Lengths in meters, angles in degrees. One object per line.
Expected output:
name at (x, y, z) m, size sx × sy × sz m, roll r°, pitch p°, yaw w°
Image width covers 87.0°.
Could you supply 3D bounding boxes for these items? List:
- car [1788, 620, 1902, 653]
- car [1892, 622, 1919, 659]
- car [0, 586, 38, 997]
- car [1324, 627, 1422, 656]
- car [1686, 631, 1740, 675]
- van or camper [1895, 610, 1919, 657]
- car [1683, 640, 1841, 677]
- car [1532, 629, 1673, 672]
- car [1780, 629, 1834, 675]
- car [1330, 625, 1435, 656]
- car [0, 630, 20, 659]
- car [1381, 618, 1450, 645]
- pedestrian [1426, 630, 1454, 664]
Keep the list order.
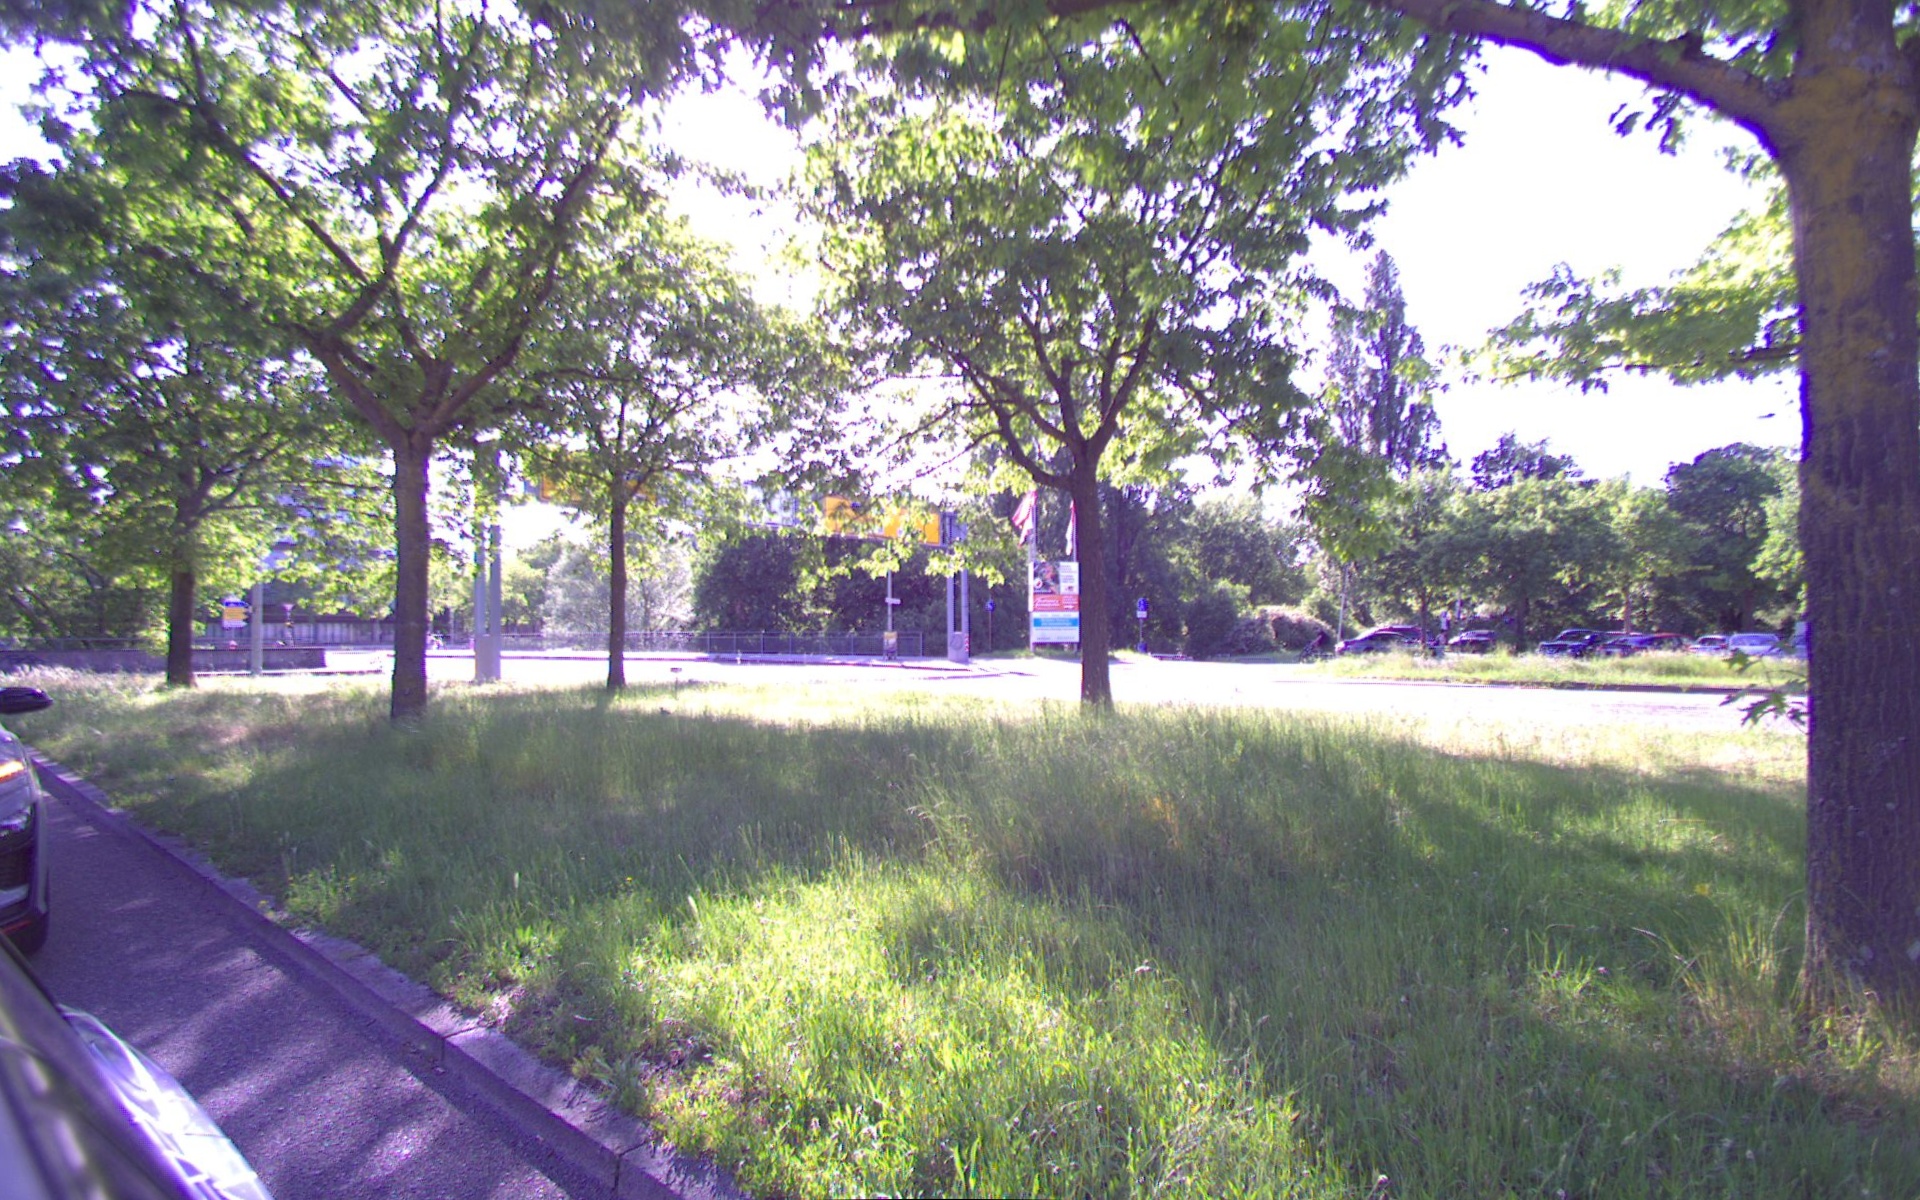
car at (43.748, 1.800, 50.106) m, size 1.969 × 1.521 × 4.005 m, roll 1°, pitch -2°, yaw -41°
car at (42.523, 1.716, 42.894) m, size 1.936 × 1.485 × 4.011 m, roll -2°, pitch -1°, yaw -33°
car at (-5.642, 0.769, 4.658) m, size 3.980 × 1.563 × 1.756 m, roll -2°, pitch -2°, yaw 43°
car at (22.109, 2.206, 54.352) m, size 4.509 × 1.475 × 1.993 m, roll -1°, pitch 0°, yaw 12°
car at (33.100, 2.286, 44.464) m, size 1.653 × 1.618 × 3.834 m, roll -2°, pitch 1°, yaw 40°
van or camper at (44.463, 1.450, 44.559) m, size 1.966 × 2.112 × 4.414 m, roll 1°, pitch -2°, yaw -32°
car at (26.718, 1.912, 33.893) m, size 3.990 × 1.137 × 1.801 m, roll -2°, pitch -2°, yaw 35°
car at (23.627, 1.832, 37.355) m, size 1.791 × 1.459 × 4.012 m, roll 0°, pitch -2°, yaw -30°
car at (35.859, 2.156, 42.850) m, size 1.653 × 1.618 × 3.834 m, roll -2°, pitch 1°, yaw 40°
car at (21.153, 2.025, 50.854) m, size 4.509 × 1.475 × 1.993 m, roll -1°, pitch 0°, yaw 12°
car at (-67.087, 3.085, 70.075) m, size 3.987 × 2.029 × 1.978 m, roll -2°, pitch -2°, yaw 32°
car at (32.443, 2.245, 72.120) m, size 4.126 × 1.814 × 1.976 m, roll -2°, pitch -2°, yaw 35°
pedestrian at (20.746, 2.021, 43.738) m, size 0.873 × 1.429 × 0.988 m, roll -2°, pitch -2°, yaw 41°
